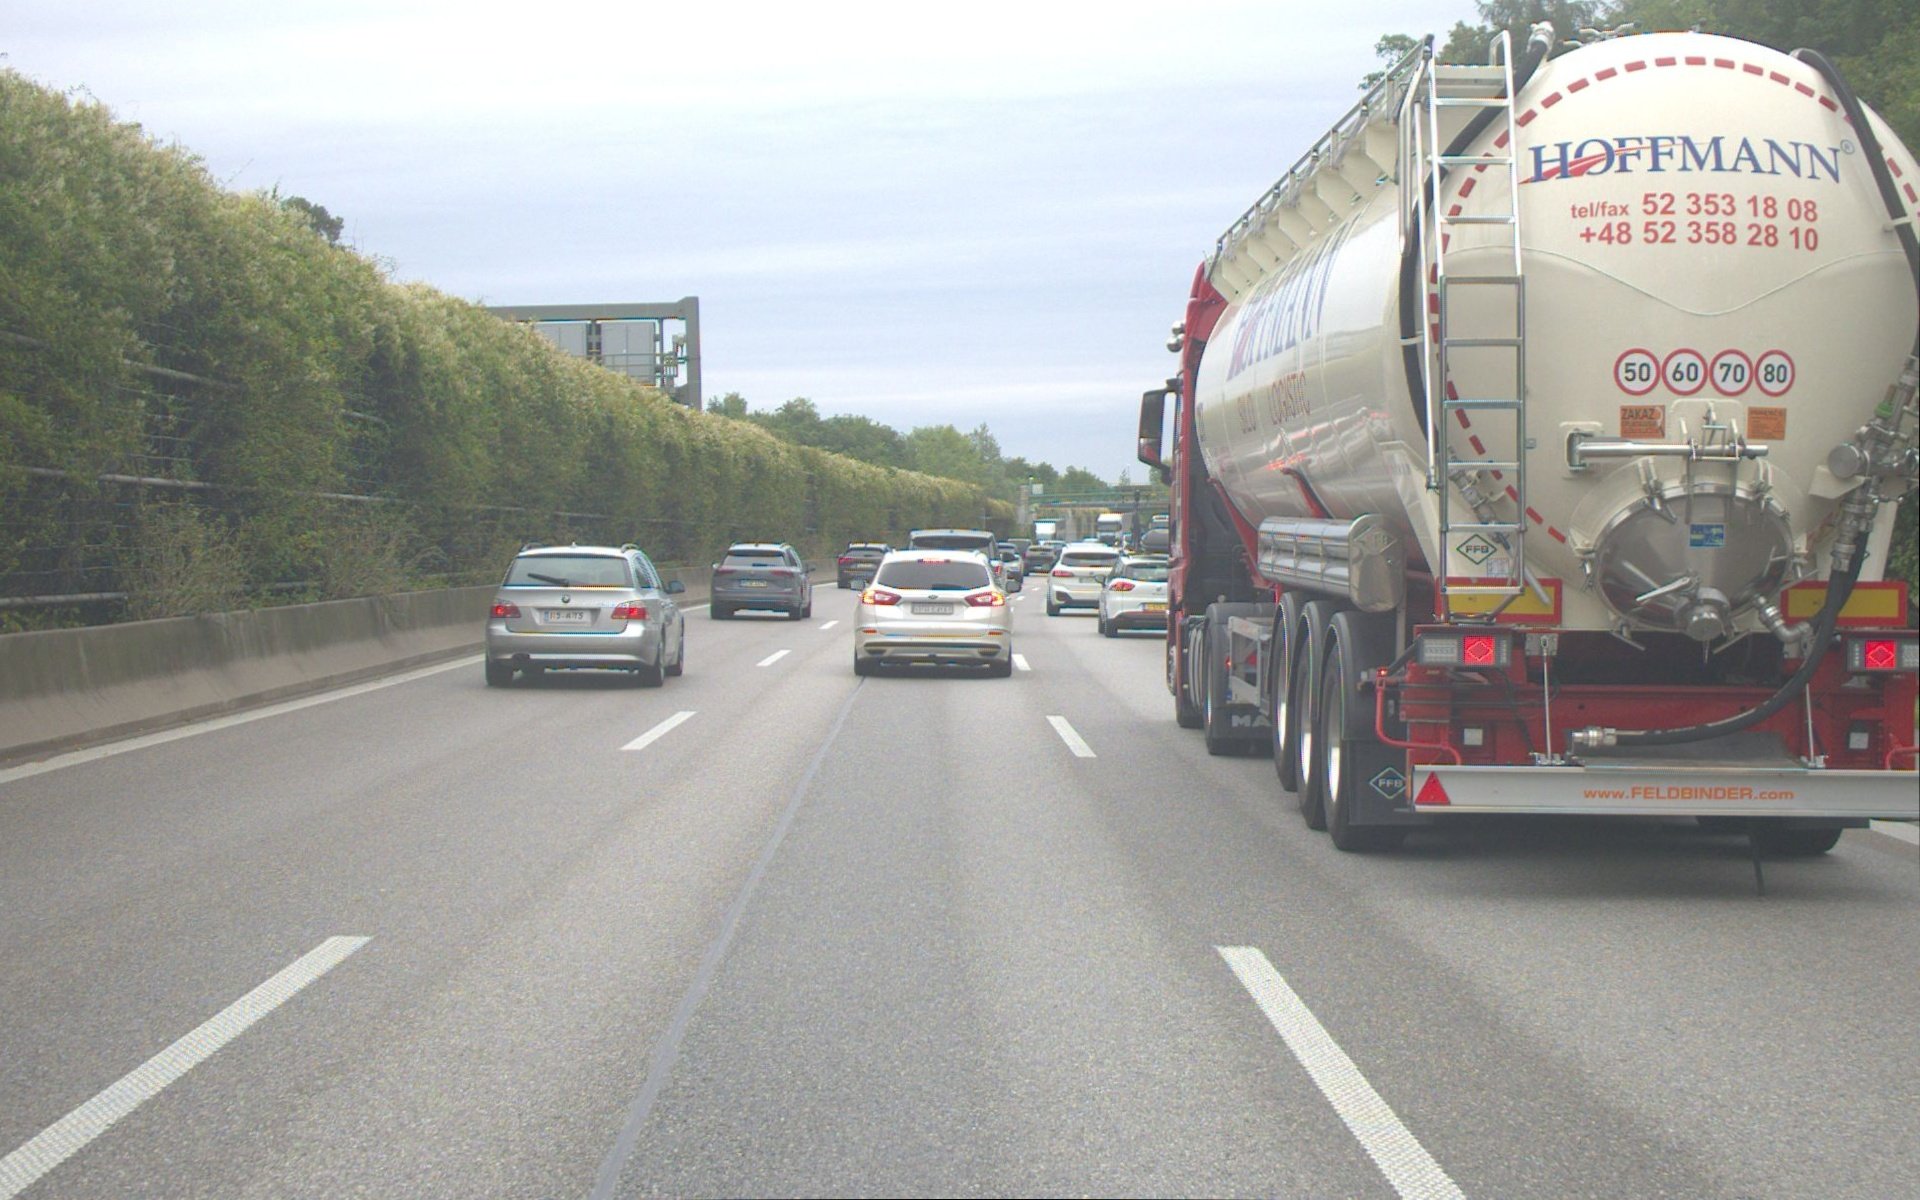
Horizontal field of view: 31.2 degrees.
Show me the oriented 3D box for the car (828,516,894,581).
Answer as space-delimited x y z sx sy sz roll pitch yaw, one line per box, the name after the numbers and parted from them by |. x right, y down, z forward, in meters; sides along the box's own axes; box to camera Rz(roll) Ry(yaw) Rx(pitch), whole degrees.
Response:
-3.131 -1.644 109.344 1.993 2.007 3.841 0 1 -1 | car

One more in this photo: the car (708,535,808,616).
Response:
-3.913 -0.499 67.226 1.720 1.507 5.030 0 1 -1 | car

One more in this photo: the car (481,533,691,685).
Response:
-3.959 0.042 37.097 1.720 1.464 5.030 1 2 0 | car

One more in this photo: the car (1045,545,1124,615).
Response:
2.758 -0.456 76.065 1.689 1.501 3.871 1 1 2 | car

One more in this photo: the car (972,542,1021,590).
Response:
1.379 -1.278 128.836 1.790 1.773 3.871 0 1 1 | car

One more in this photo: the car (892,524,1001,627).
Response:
-0.262 -0.451 59.316 1.689 1.501 3.872 4 2 -2 | car

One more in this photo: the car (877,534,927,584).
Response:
-2.373 -1.689 140.858 1.993 2.007 4.000 0 1 -1 | car

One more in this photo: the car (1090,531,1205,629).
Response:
3.226 -0.374 59.945 1.816 1.620 5.030 0 1 1 | car

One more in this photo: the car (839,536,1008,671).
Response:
-0.422 -0.002 41.186 1.891 1.499 5.030 0 1 0 | car

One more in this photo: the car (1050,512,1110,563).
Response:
3.622 -1.884 103.888 1.689 1.501 3.871 1 1 0 | car

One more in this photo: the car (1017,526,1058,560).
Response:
3.587 -2.631 158.195 1.689 1.534 3.871 1 1 4 | car

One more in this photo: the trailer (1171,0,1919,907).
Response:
3.081 -0.779 20.754 2.668 3.925 13.131 1 1 0 | trailer

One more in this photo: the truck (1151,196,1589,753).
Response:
3.072 -0.921 27.542 2.695 3.899 6.556 1 1 0 | truck
